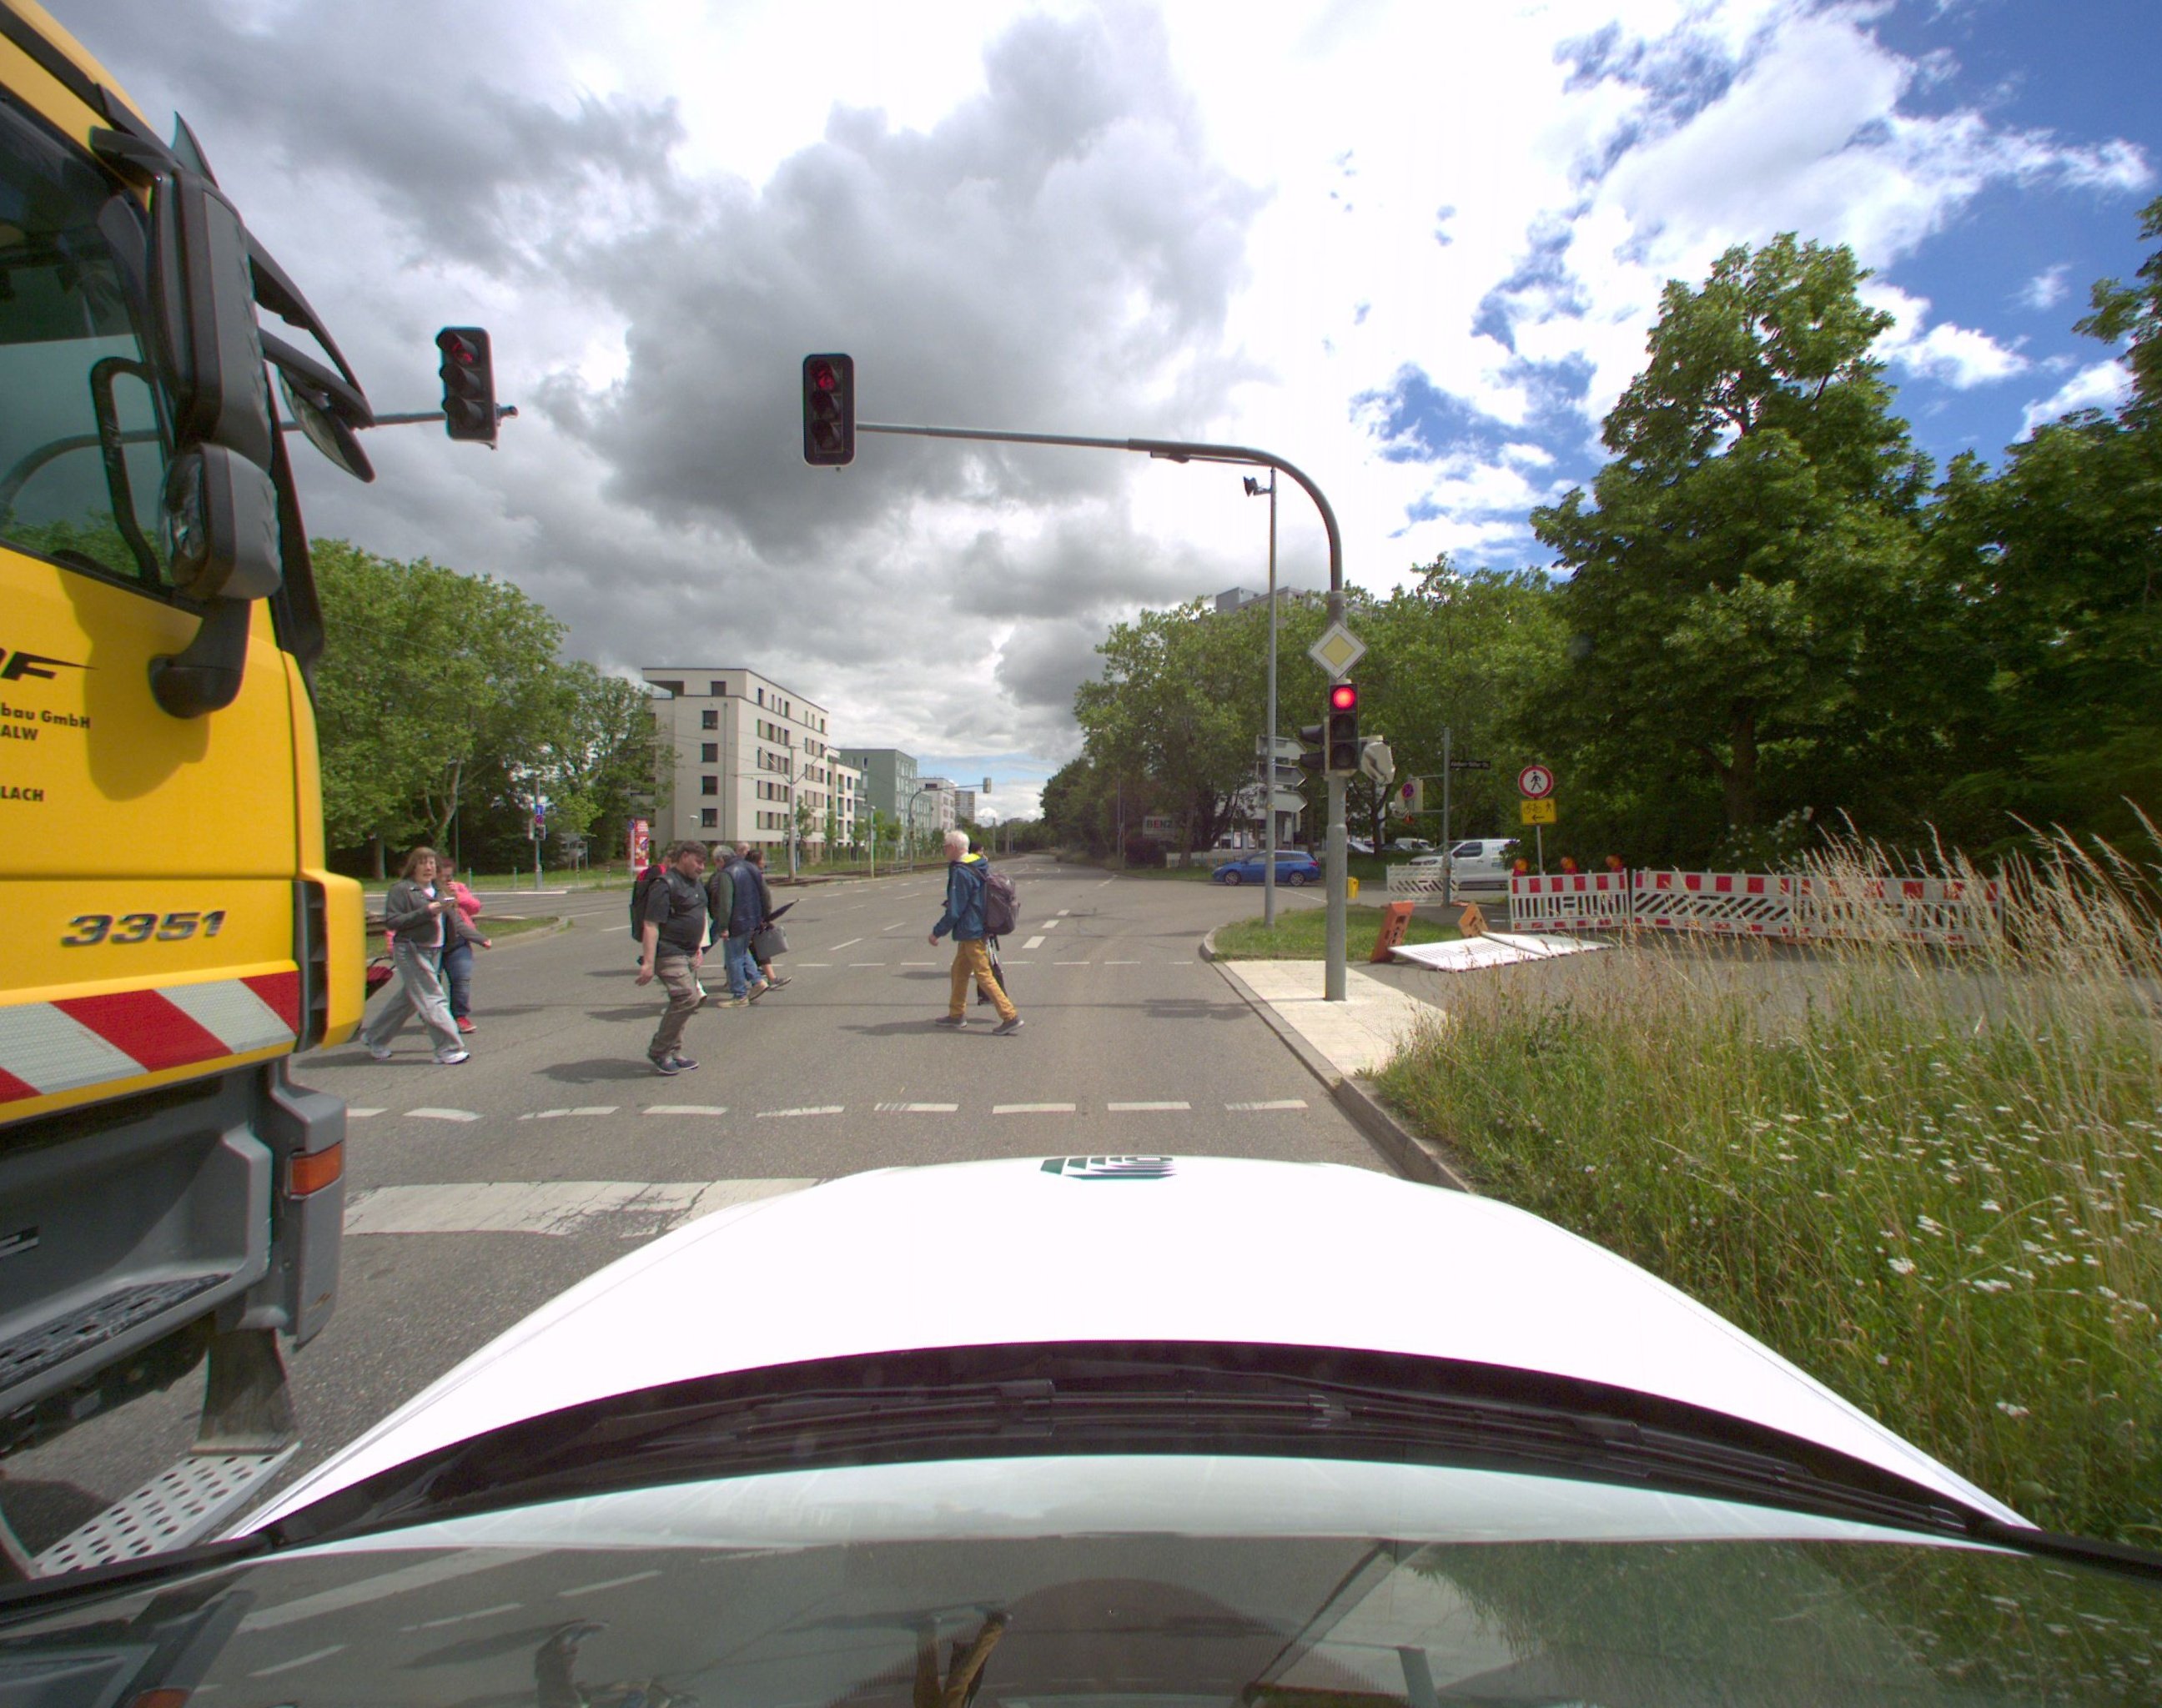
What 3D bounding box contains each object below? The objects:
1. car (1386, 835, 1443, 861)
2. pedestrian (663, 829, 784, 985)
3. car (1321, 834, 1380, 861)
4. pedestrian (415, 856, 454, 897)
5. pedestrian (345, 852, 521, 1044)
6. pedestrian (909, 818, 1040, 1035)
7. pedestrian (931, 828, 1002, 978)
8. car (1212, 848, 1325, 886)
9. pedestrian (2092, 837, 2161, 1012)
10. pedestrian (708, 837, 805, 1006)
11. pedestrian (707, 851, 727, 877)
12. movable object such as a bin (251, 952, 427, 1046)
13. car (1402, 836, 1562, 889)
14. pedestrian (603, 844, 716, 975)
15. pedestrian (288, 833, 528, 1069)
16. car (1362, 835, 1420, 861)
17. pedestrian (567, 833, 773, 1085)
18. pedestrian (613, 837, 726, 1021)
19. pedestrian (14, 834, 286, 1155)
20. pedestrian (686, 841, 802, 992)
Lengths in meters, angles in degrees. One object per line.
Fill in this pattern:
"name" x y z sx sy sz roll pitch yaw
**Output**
"car" 27.313 -0.497 66.860 2.006 2.013 3.962 -1 0 -29
"pedestrian" -4.249 0.599 9.759 0.998 1.773 0.930 -1 0 2
"car" 20.567 -0.485 62.246 2.006 2.013 3.962 -1 0 -29
"pedestrian" -26.772 0.909 33.718 0.914 1.676 1.108 0 0 41
"pedestrian" -5.520 0.764 6.986 0.877 1.554 0.747 -1 0 2
"pedestrian" -0.902 0.595 7.179 1.006 1.774 0.948 -1 0 0
"pedestrian" -1.374 0.568 9.937 0.780 1.742 0.827 -1 0 -4
"car" 7.762 0.524 34.028 4.449 1.486 1.994 -1 0 9
"pedestrian" 10.055 0.616 7.288 0.940 1.552 0.846 -1 0 11
"pedestrian" -3.318 0.648 8.409 0.871 1.634 0.760 -1 0 -19
"pedestrian" -21.180 0.591 47.347 0.827 1.516 0.636 -1 0 1
"movable object such as a bin" -6.350 1.230 7.015 0.792 0.662 0.778 -1 0 2
"car" 14.913 0.300 30.451 5.063 1.874 1.947 -1 0 -2
"pedestrian" -5.381 0.678 10.448 0.886 1.596 0.911 -1 0 13
"pedestrian" -5.037 0.681 6.176 1.016 1.648 0.930 -1 0 2
"car" 24.598 -0.493 64.727 2.006 2.013 3.962 -1 0 -29
"pedestrian" -2.889 0.686 5.819 0.953 1.648 0.882 -1 0 7
"pedestrian" -3.880 0.664 7.743 0.824 1.640 0.729 -1 0 -17
"pedestrian" -5.381 0.737 4.783 0.827 1.671 0.727 -1 -1 -27
"pedestrian" -3.771 0.666 9.198 0.910 1.607 0.929 -1 0 -1
